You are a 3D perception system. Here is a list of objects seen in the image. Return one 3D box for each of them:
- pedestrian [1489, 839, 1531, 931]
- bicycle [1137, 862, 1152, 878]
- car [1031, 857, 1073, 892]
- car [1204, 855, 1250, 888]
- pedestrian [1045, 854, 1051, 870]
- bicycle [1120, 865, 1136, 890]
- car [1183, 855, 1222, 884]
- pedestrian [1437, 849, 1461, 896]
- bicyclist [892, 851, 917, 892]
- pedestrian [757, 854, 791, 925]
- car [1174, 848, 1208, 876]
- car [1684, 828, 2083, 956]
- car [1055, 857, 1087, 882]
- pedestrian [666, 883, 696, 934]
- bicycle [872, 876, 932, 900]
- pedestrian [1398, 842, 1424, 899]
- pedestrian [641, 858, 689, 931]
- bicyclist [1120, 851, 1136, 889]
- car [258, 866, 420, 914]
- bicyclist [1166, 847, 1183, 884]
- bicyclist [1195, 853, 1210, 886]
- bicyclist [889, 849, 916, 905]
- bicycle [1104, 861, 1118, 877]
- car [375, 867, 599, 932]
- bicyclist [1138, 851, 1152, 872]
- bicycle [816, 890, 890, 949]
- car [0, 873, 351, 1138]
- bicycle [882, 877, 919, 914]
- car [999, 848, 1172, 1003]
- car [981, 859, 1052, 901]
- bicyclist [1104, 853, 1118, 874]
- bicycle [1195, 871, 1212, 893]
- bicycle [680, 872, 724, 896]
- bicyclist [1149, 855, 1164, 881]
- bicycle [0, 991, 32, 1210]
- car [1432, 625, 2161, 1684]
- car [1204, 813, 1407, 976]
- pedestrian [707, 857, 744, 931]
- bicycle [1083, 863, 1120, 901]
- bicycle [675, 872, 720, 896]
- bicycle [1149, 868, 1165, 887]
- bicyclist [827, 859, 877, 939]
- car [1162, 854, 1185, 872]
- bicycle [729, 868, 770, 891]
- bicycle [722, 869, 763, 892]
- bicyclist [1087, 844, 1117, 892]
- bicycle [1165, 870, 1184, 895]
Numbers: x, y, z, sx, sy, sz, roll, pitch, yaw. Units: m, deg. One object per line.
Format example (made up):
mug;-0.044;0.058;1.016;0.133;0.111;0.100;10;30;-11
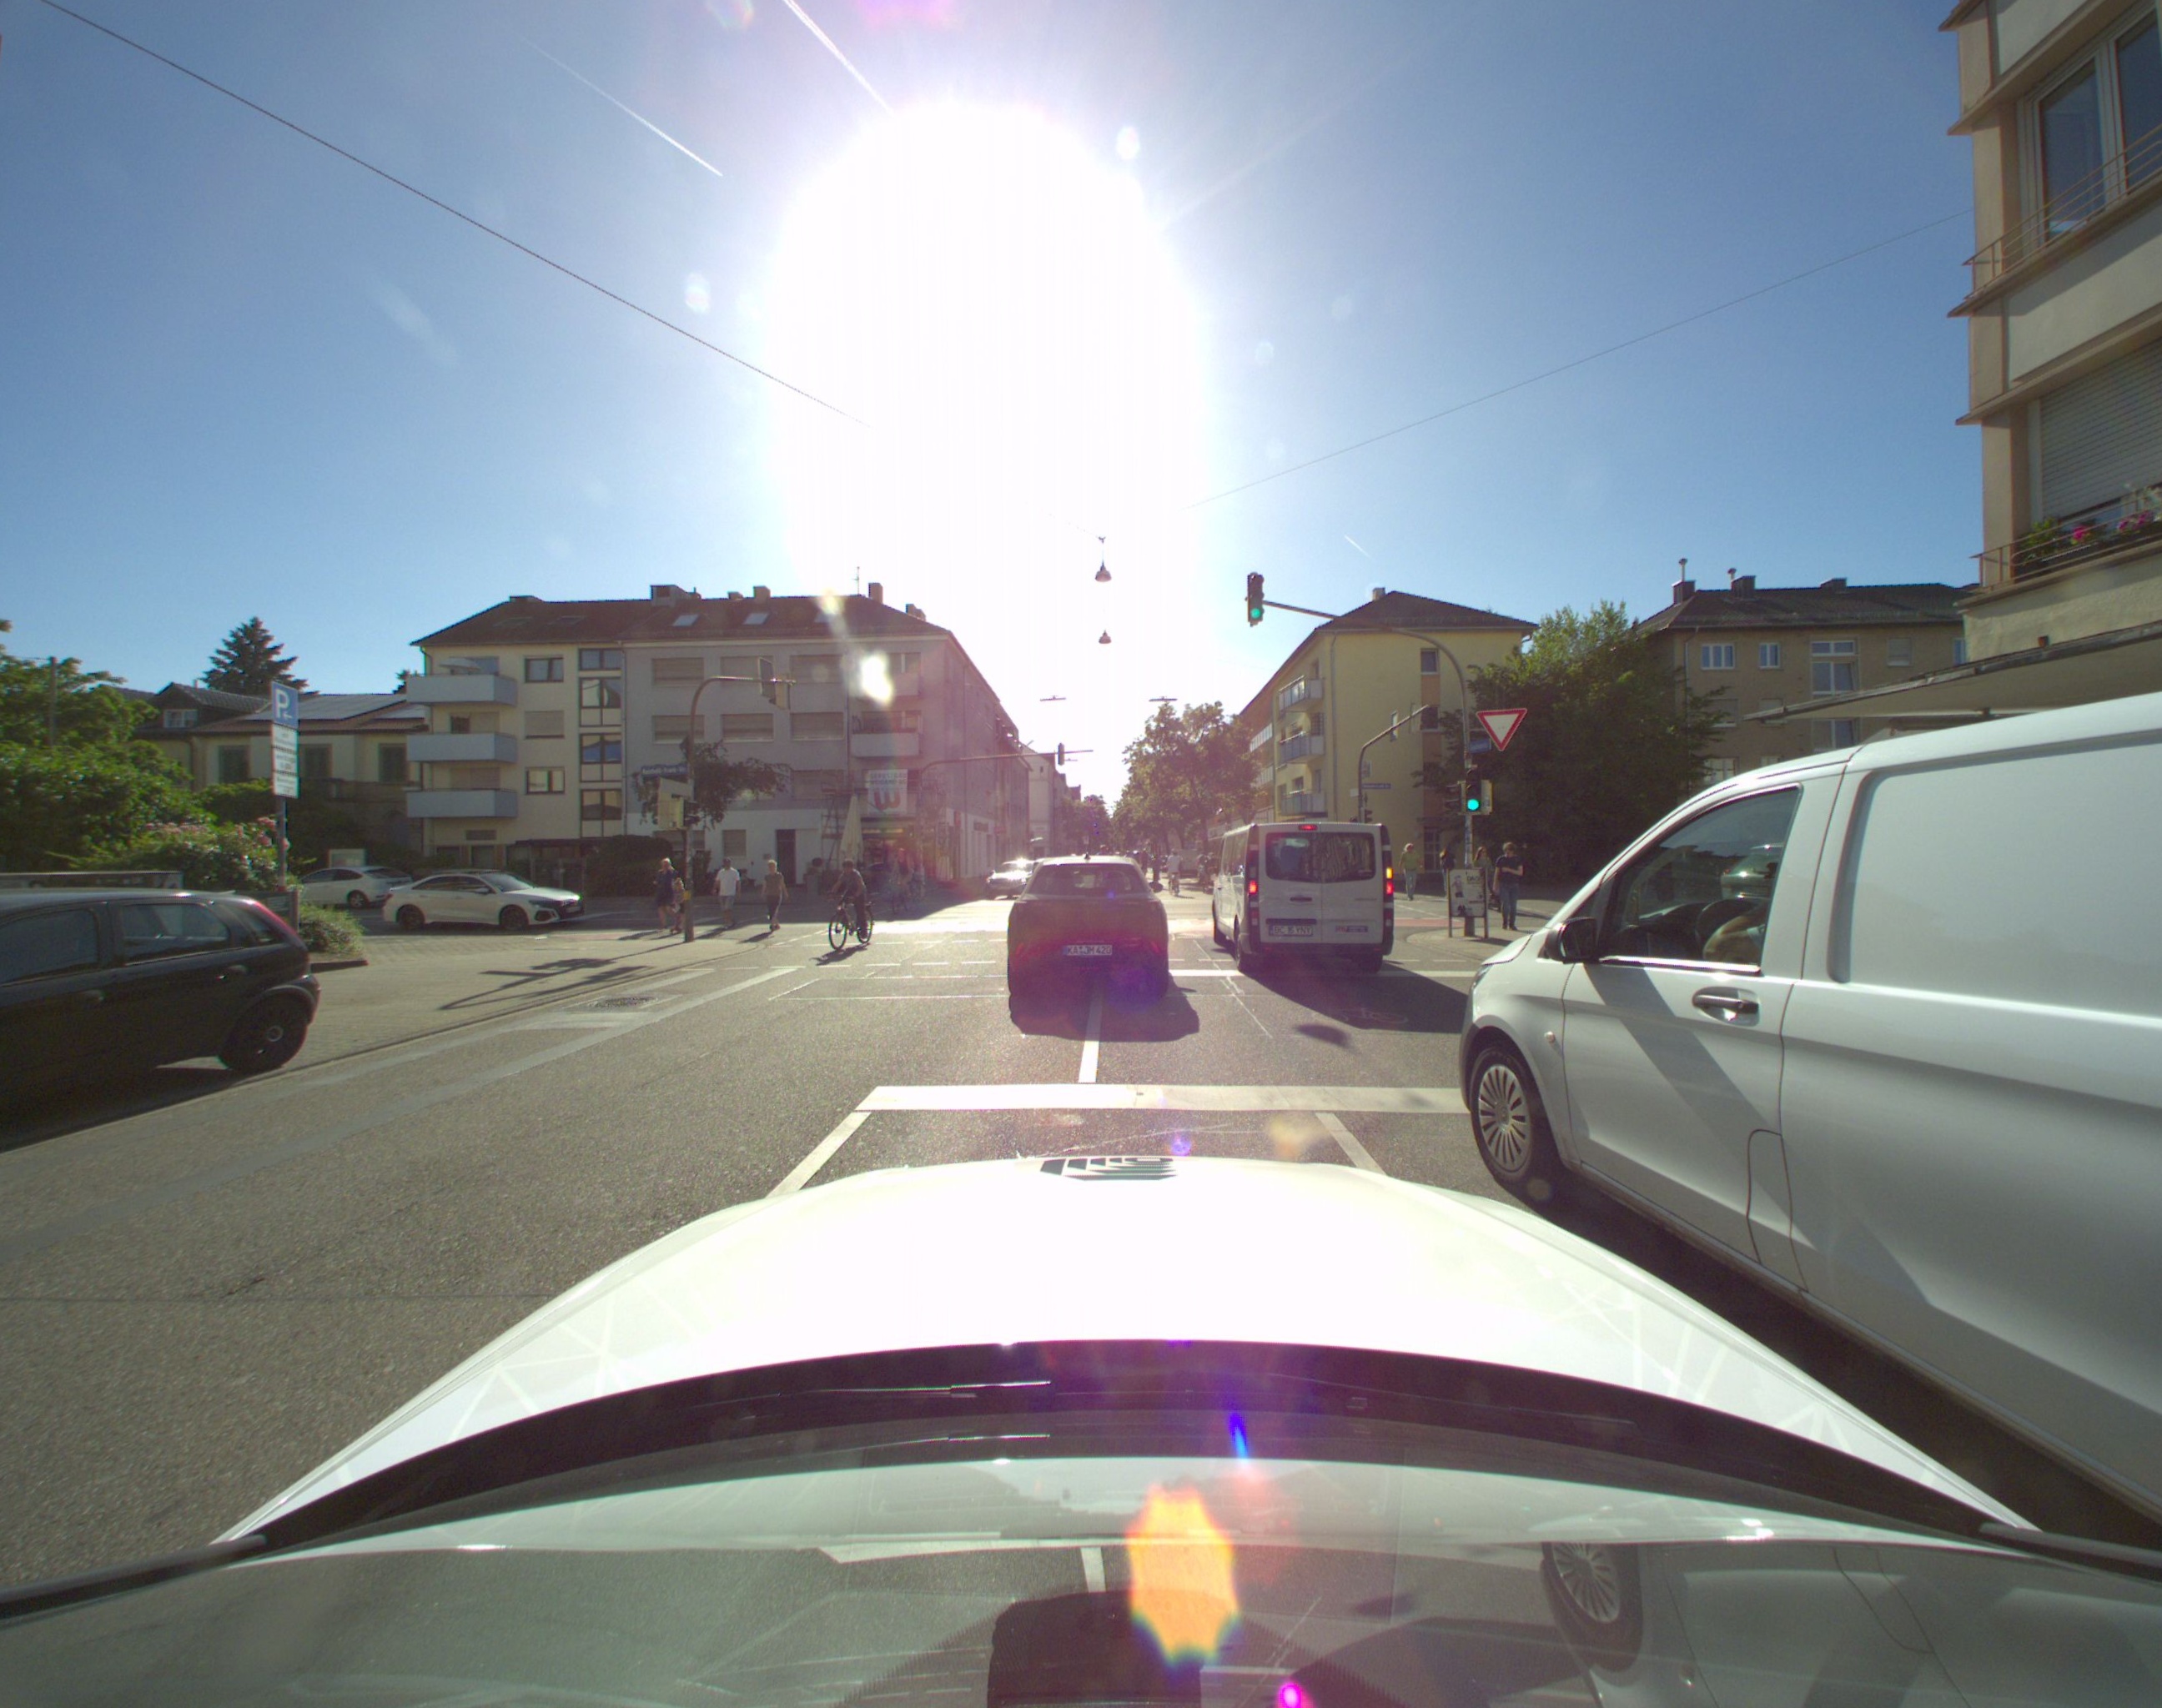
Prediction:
pedestrian;8.691;0.618;16.529;0.599;1.822;0.631;-1;0;15
bicycle;4.109;1.007;52.659;0.853;0.945;2.308;1;0;2
car;-1.374;0.973;40.047;1.585;1.566;4.093;-2;-1;4
car;6.975;0.821;39.304;1.706;1.483;3.482;-1;0;2
pedestrian;-3.349;0.839;83.000;0.575;1.583;0.707;-1;0;-4
bicycle;2.075;1.028;35.987;0.630;1.041;1.796;-2;0;2
car;6.453;0.802;43.446;1.706;1.483;3.383;-1;0;2
pedestrian;12.318;0.610;27.262;0.537;1.571;0.539;-1;0;1
bicyclist;-6.675;0.661;30.820;0.815;1.549;0.550;0;-1;-24
pedestrian;-6.918;0.792;18.364;0.529;1.581;0.563;-1;0;3
car;7.645;0.516;57.084;2.037;1.846;4.589;-1;0;4
car;11.490;0.516;11.902;3.972;1.662;1.826;-1;0;2
car;-0.620;0.913;50.080;1.799;1.413;4.424;-3;0;-1
pedestrian;-9.222;1.243;18.779;0.383;1.146;0.533;-1;0;7
bicycle;-6.751;1.279;30.776;2.134;0.833;0.550;0;0;-25
pedestrian;10.252;0.506;25.282;0.524;1.762;0.623;-1;0;0
pedestrian;-9.989;0.951;19.586;0.570;1.683;0.970;-1;0;5
bicyclist;2.059;0.692;35.752;0.630;1.669;1.051;-2;0;1
car;-26.346;1.259;29.005;3.973;1.519;1.916;-1;1;1
bicyclist;3.580;0.449;31.278;0.586;1.382;0.823;-1;0;3
bicyclist;5.197;0.638;34.745;0.544;1.382;0.823;-1;0;3
bicyclist;-4.918;0.630;22.438;0.540;1.520;0.774;-1;0;2
bicycle;1.907;0.969;52.341;0.853;0.945;2.308;1;0;2
car;-14.961;1.118;20.684;4.236;1.435;1.937;0;3;3
bicyclist;4.133;0.466;52.706;0.853;1.314;1.211;1;0;1
bicycle;-4.082;1.156;14.732;0.539;0.902;1.831;-1;0;10
car;-7.091;0.905;4.996;1.685;1.448;3.856;1;0;0
bicycle;-4.914;1.109;22.316;0.540;0.902;1.827;-1;0;2
car;0.107;0.746;10.343;1.756;1.558;4.001;-1;0;2
car;-2.425;0.962;31.604;1.827;1.433;4.186;-1;0;8
bicyclist;1.923;0.603;52.282;0.853;1.314;1.211;1;0;1
bicycle;5.178;1.169;34.499;0.544;0.866;1.878;-1;0;3
bicycle;-15.783;1.230;33.901;1.582;0.940;0.513;-1;0;3
bicyclist;3.594;0.653;38.795;0.689;1.193;0.595;-1;0;3
bicycle;-5.185;1.117;2.765;0.677;0.952;1.934;-3;0;2
car;2.827;0.507;1.903;1.961;1.810;4.833;-1;0;1
car;3.098;0.502;12.377;1.960;1.940;5.060;0;0;3
pedestrian;-8.303;0.909;19.038;0.571;1.689;0.669;-1;0;-3
bicycle;0.713;0.978;28.843;0.802;1.255;2.130;-1;0;-12
bicycle;-15.697;1.235;33.317;1.582;0.940;0.513;-1;0;3
bicycle;3.597;1.110;38.793;0.688;0.866;1.878;-1;0;3
bicyclist;-4.107;0.785;14.648;0.539;1.391;0.791;-1;0;11
car;7.948;0.769;70.314;1.706;1.483;3.383;-1;0;2
bicycle;-14.610;1.118;35.860;1.582;0.940;0.513;-1;0;3
bicycle;-14.639;1.152;35.225;1.582;0.940;0.513;-1;0;3
bicyclist;0.740;0.472;28.724;0.802;1.649;1.120;-1;0;-12
bicycle;3.591;1.077;31.300;0.617;0.866;1.878;-1;0;3
